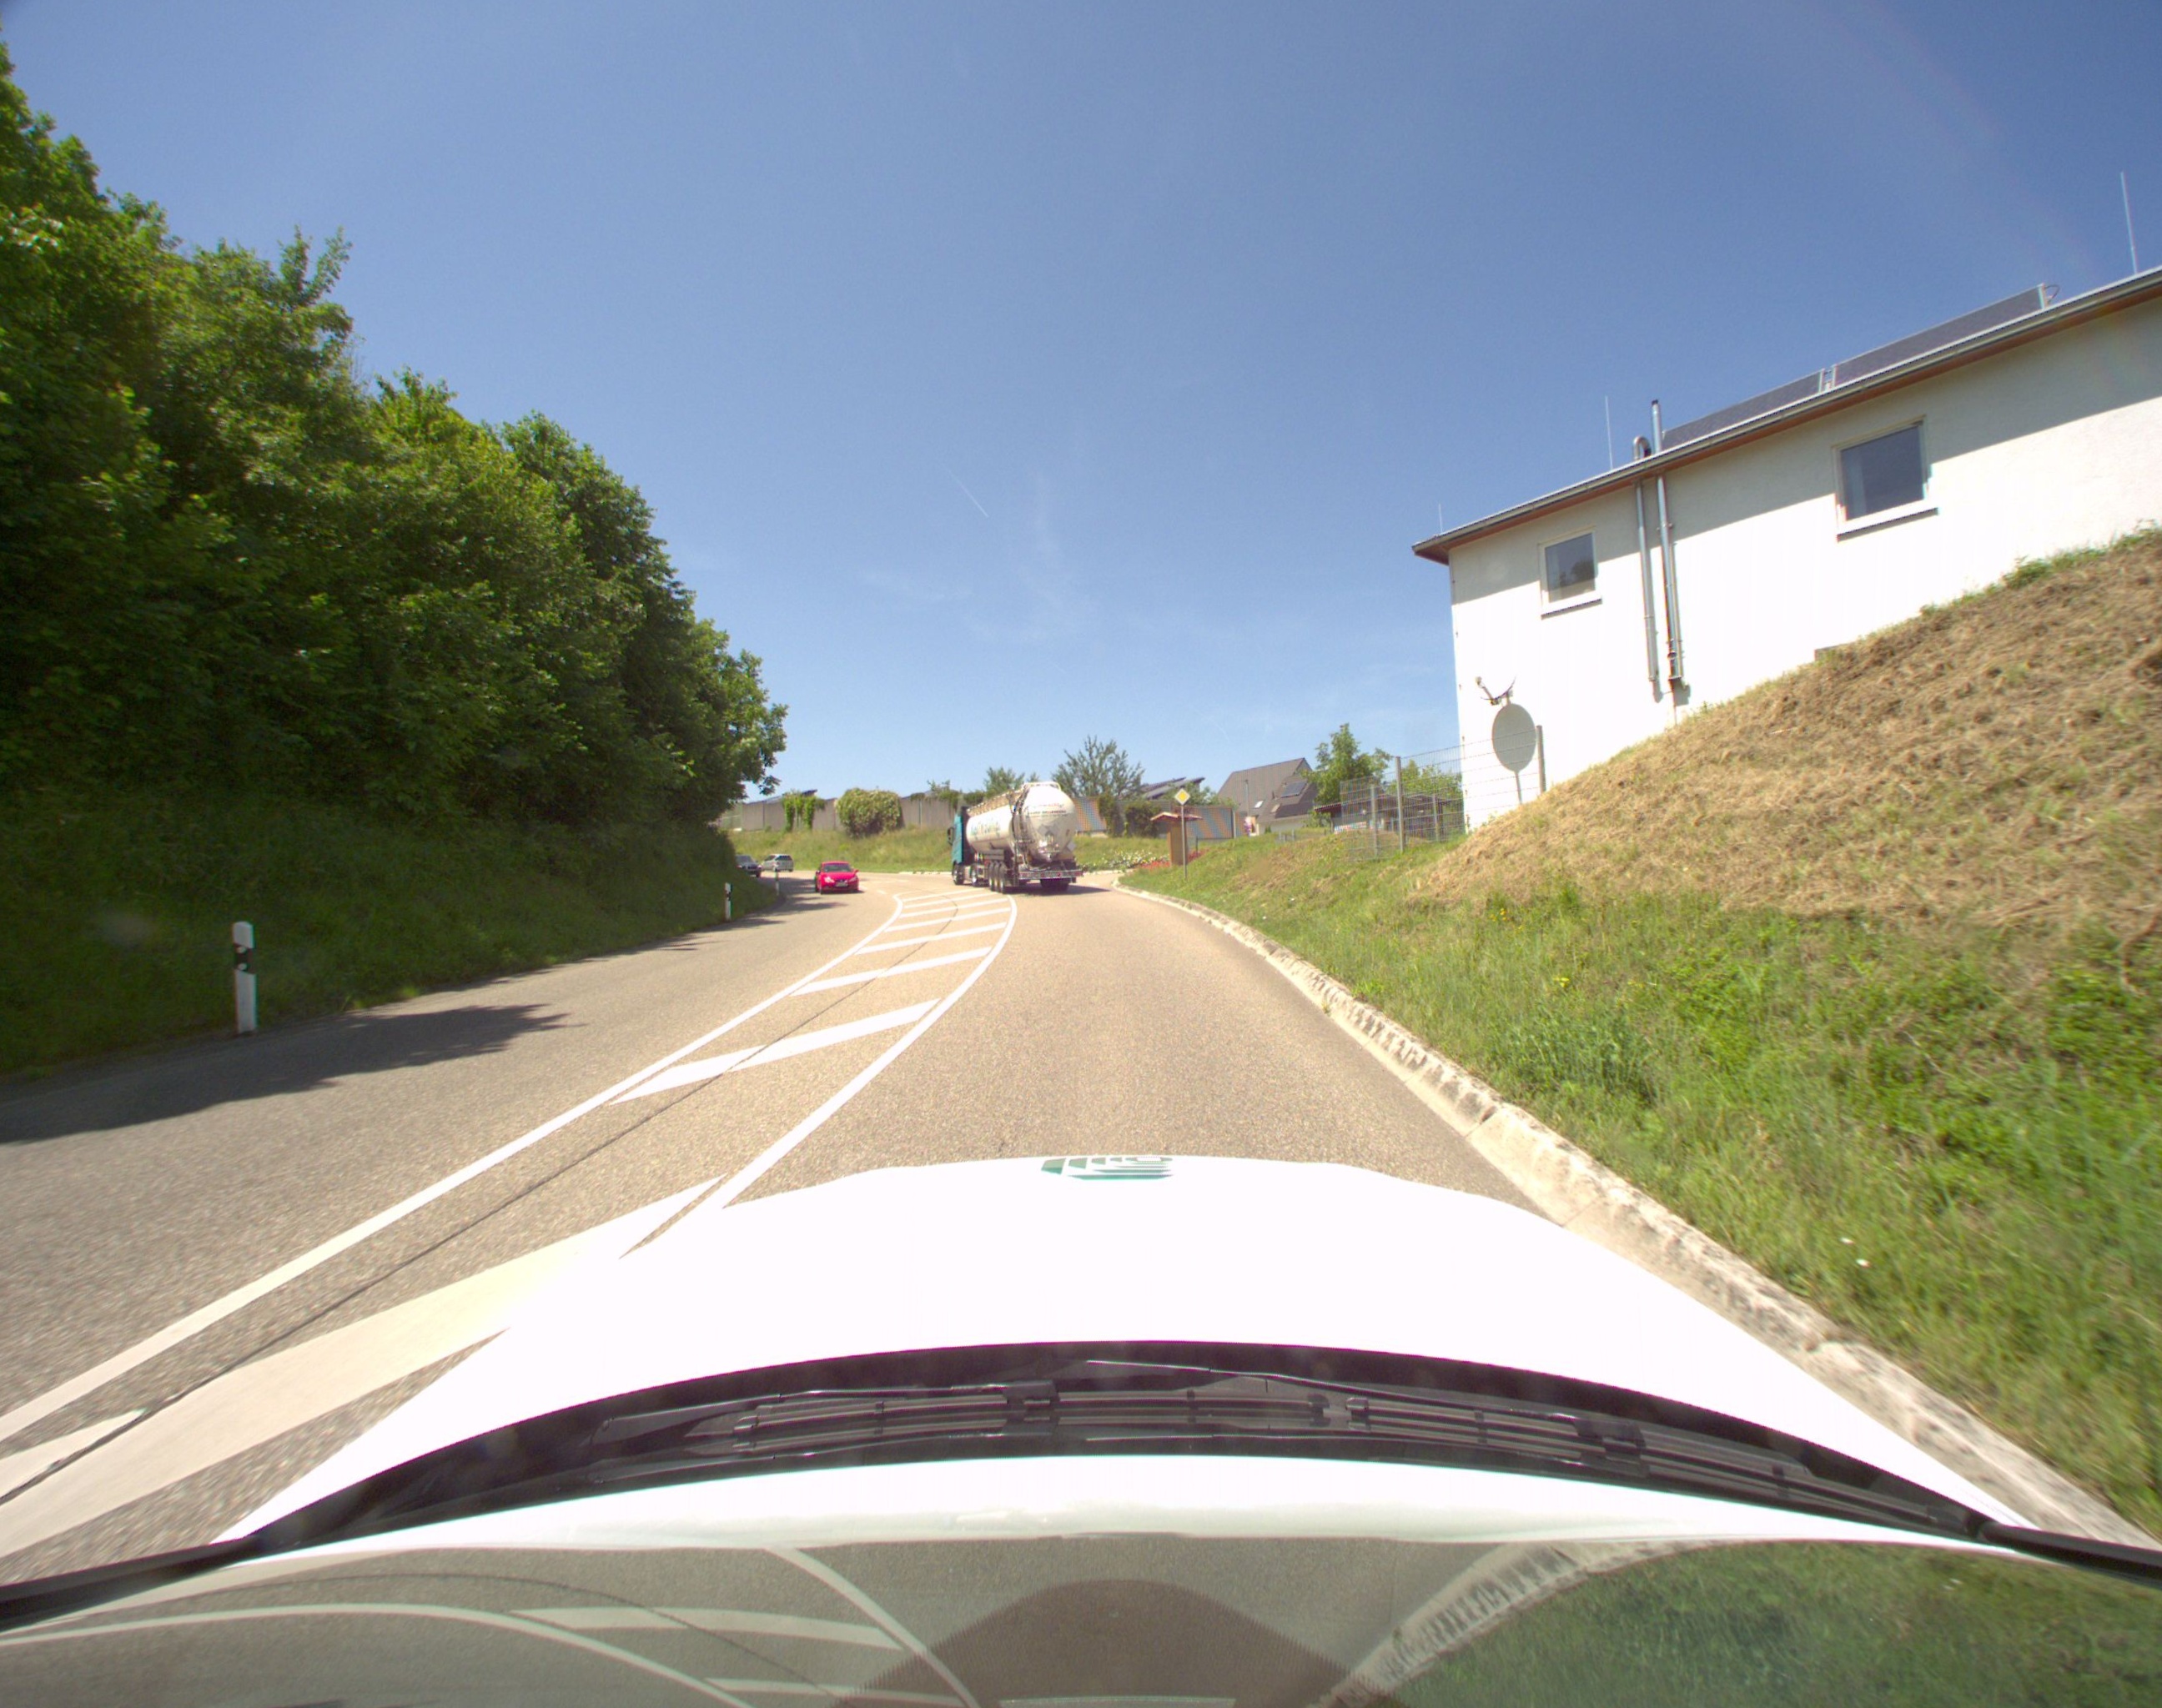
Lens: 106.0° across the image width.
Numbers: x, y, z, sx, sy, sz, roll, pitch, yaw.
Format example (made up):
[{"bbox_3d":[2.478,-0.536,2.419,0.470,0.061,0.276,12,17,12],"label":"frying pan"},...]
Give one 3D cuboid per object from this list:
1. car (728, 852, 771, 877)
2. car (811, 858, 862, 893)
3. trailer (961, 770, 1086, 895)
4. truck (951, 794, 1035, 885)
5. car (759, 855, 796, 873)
[{"bbox_3d":[-23.901,0.737,58.661,1.806,1.604,4.132,-4,2,-38],"label":"car"},{"bbox_3d":[-11.411,0.949,37.825,1.758,1.448,3.969,-3,1,-23],"label":"car"},{"bbox_3d":[-2.773,-0.810,33.613,2.666,4.188,11.841,-3,1,-15],"label":"trailer"},{"bbox_3d":[-4.429,-0.633,39.412,2.733,3.929,7.223,-3,0,-16],"label":"truck"},{"bbox_3d":[-26.271,0.874,70.366,1.662,1.509,3.594,3,-2,-44],"label":"car"}]
